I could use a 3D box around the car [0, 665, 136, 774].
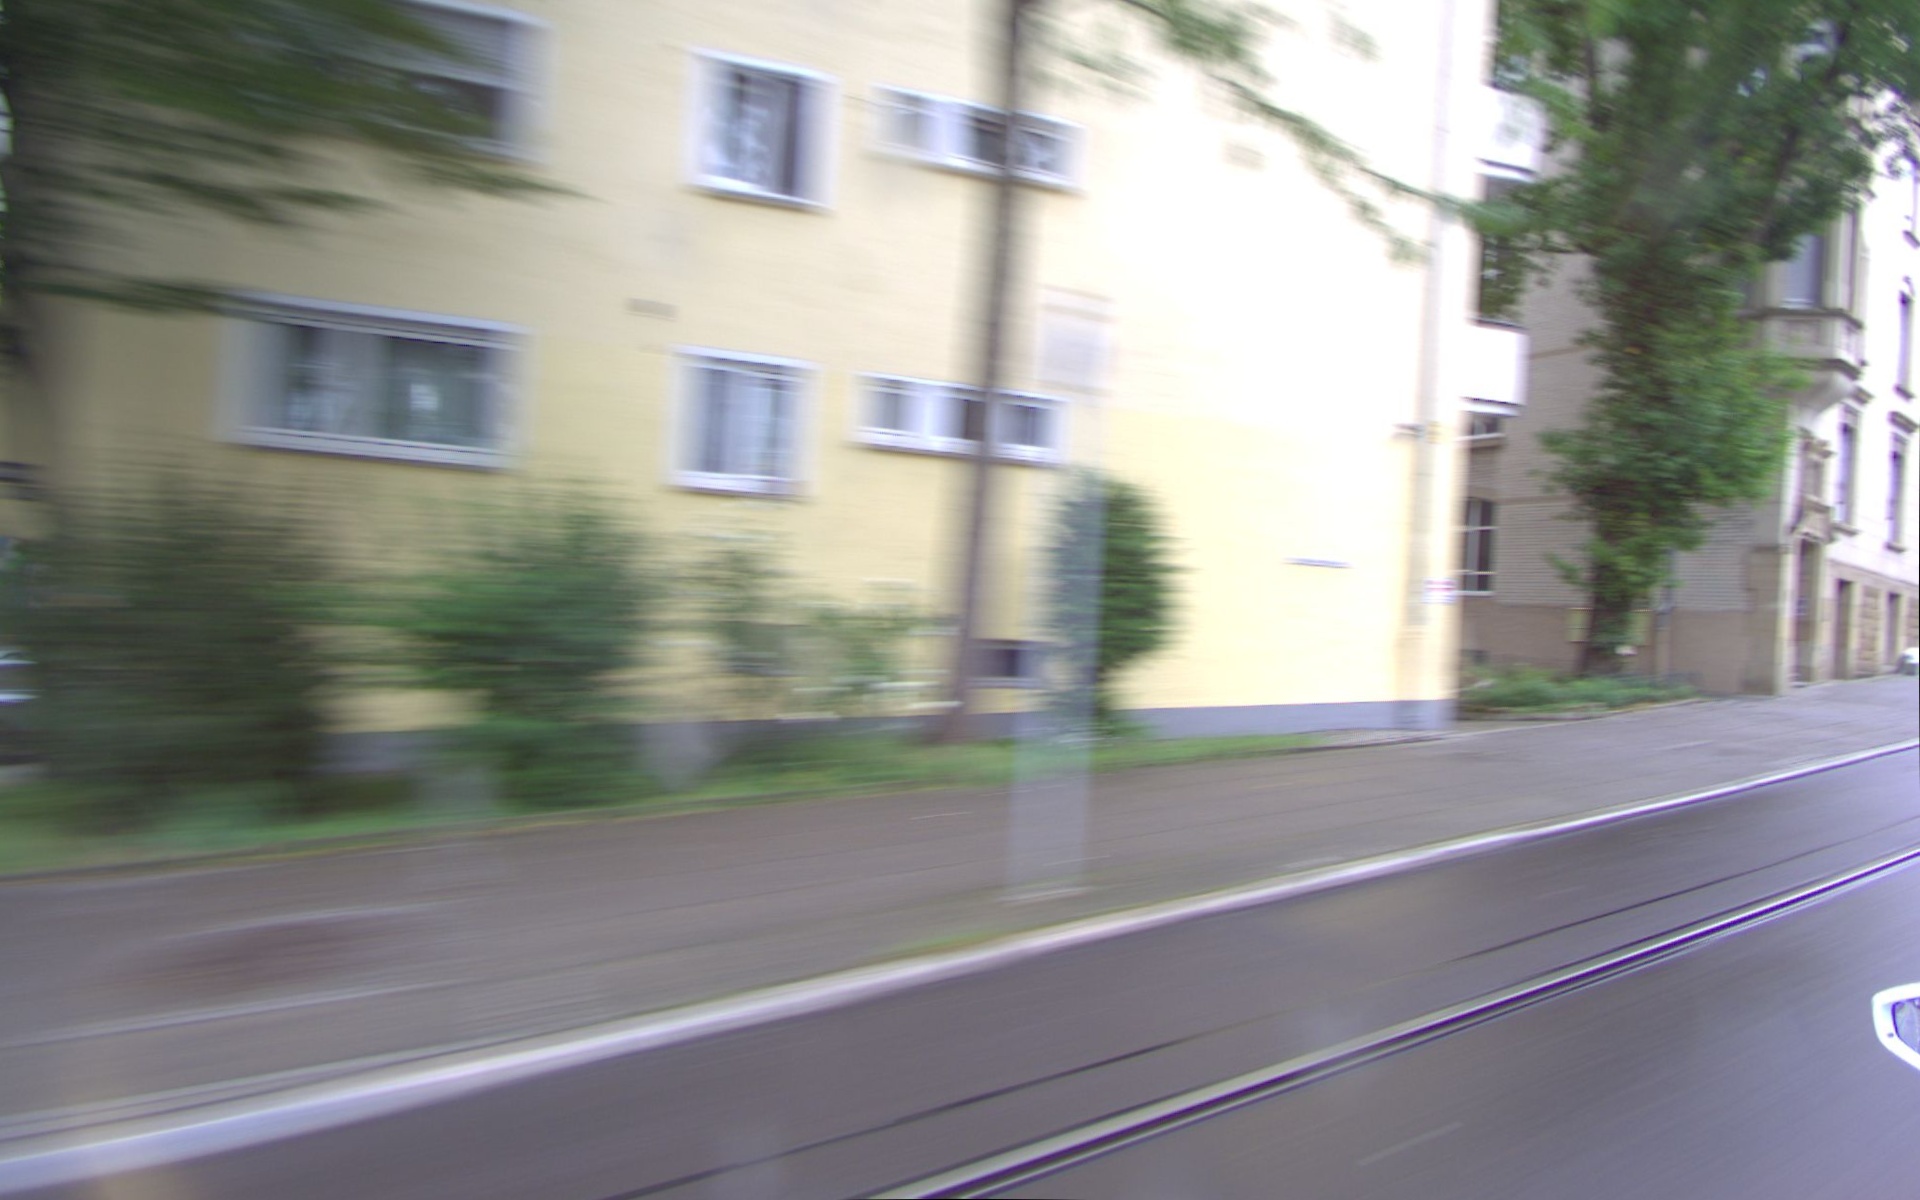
[{"bbox_3d":[-13.080,1.517,13.013,1.916,1.365,4.123,2,-4,-11],"label":"car"}]

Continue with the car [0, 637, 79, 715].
[{"bbox_3d":[-22.844,1.734,23.142,1.916,1.780,4.123,2,-4,-11],"label":"car"}]
